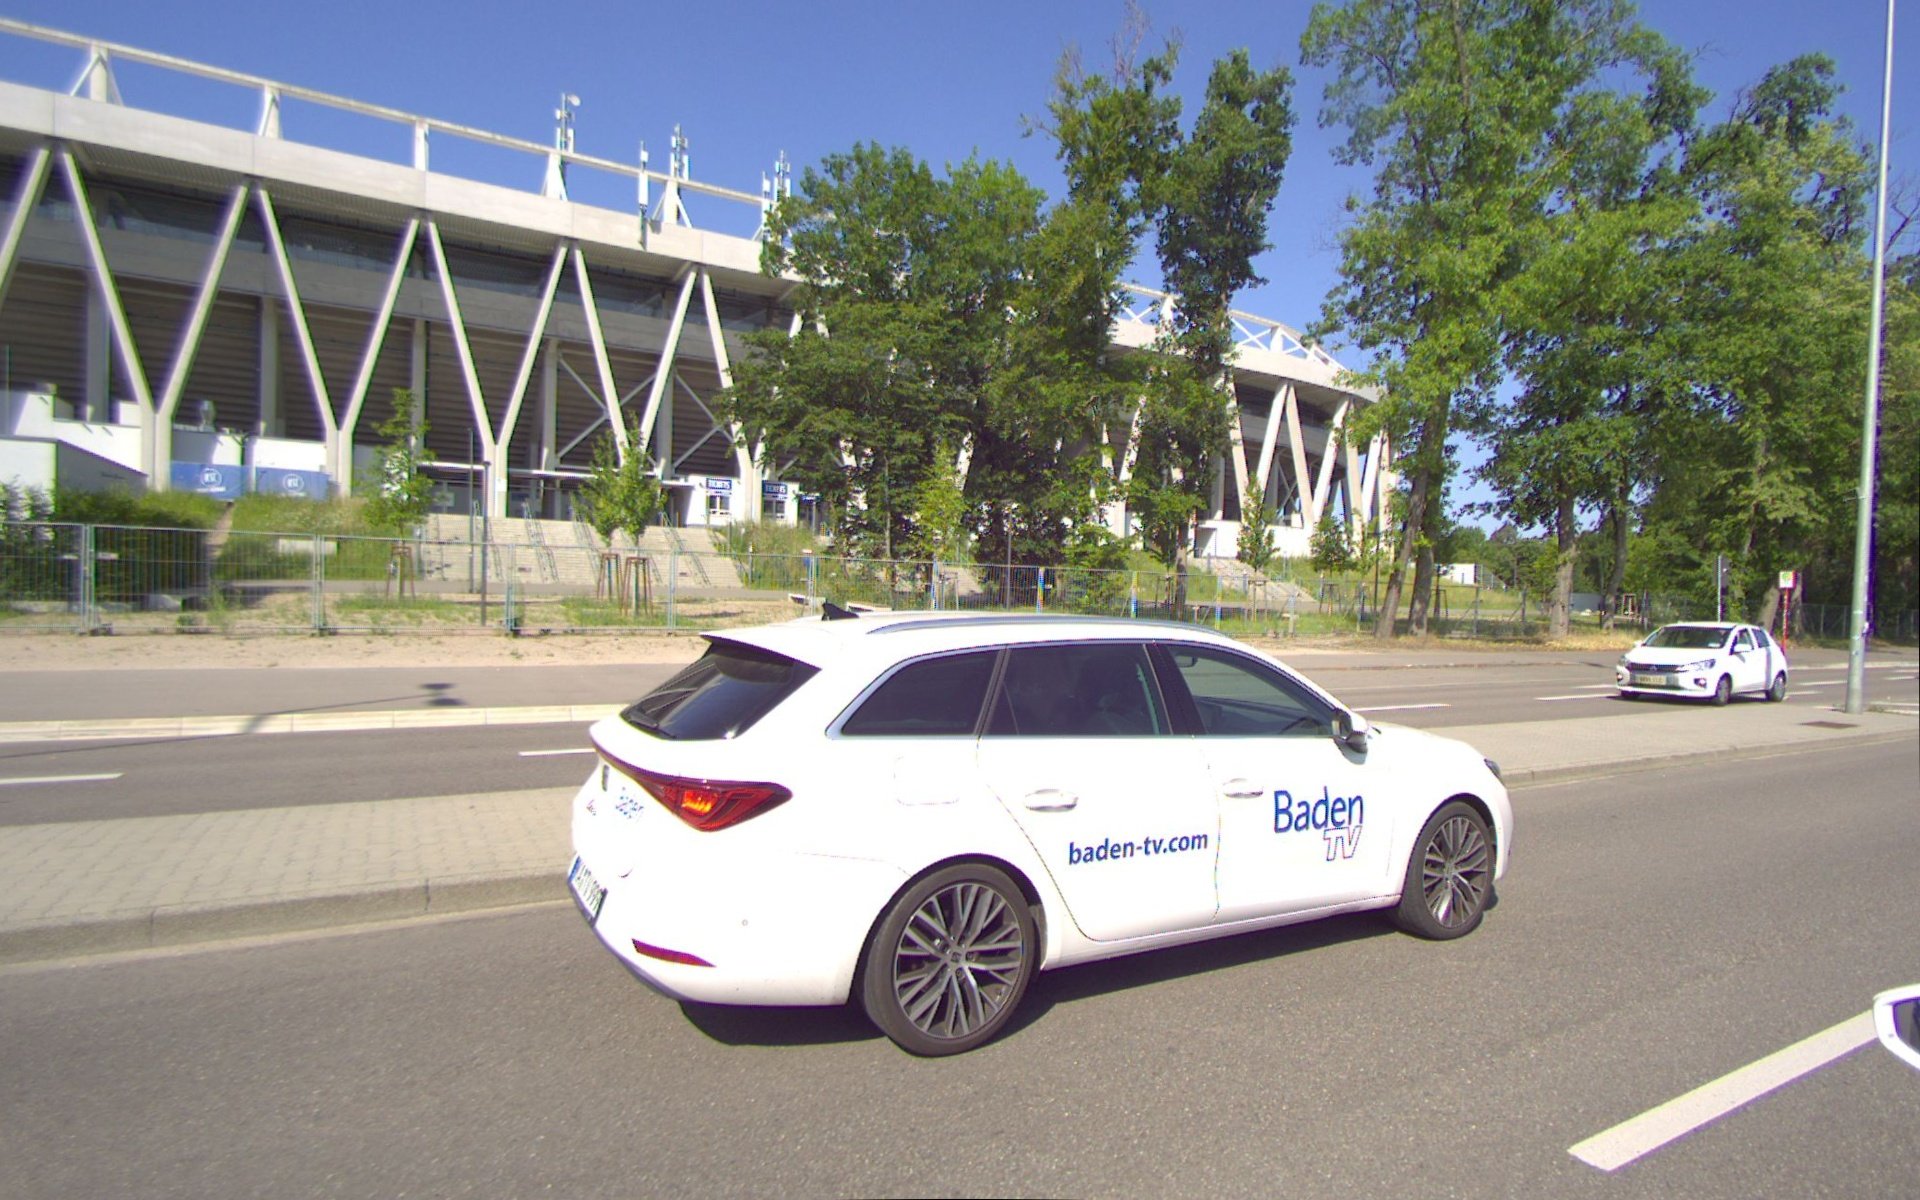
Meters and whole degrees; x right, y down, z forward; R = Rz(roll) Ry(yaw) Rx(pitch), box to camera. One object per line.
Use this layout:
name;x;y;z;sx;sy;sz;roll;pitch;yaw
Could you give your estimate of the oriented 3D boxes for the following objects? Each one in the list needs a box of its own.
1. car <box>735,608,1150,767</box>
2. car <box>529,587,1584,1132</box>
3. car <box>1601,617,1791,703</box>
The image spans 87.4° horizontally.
car;-0.127;0.830;10.752;4.113;1.406;1.802;1;-1;-31
car;0.656;0.723;4.580;4.663;1.446;1.717;1;0;-30
car;13.997;1.091;19.068;3.757;1.486;1.615;1;-1;-31
